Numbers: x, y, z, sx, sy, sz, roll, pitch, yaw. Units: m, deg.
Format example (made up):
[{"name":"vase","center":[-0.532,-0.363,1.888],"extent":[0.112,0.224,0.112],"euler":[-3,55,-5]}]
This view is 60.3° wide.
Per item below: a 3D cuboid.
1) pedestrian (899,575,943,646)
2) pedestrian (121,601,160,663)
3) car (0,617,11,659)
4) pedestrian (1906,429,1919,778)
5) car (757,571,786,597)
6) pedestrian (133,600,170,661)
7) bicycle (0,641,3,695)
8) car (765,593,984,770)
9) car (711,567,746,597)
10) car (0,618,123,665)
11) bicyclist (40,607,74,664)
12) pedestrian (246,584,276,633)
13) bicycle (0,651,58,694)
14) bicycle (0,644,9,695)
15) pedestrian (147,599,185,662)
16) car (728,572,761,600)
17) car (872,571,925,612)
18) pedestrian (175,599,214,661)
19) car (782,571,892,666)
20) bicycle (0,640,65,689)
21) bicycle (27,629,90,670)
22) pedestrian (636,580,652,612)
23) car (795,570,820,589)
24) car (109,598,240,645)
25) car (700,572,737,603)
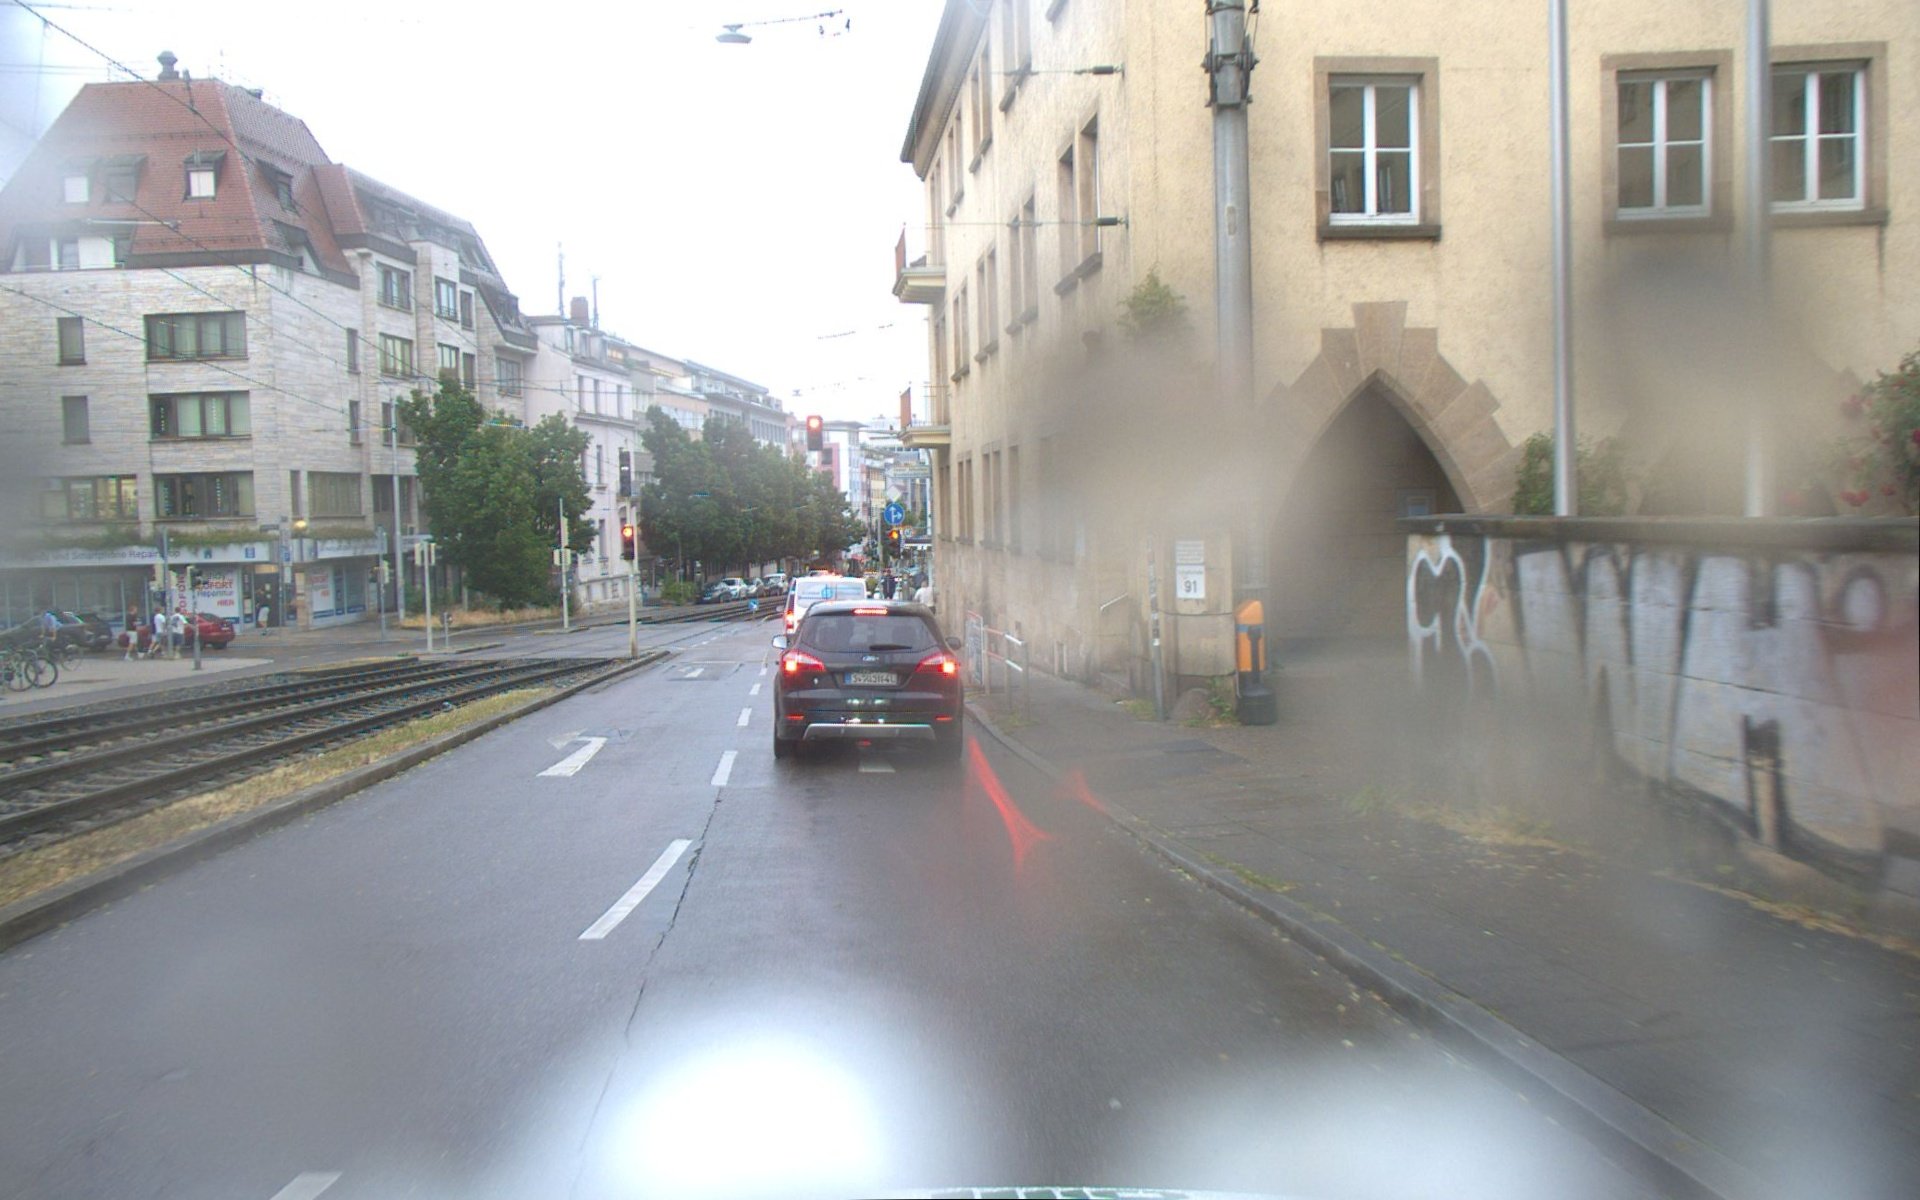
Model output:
[{"name":"pedestrian","center":[-1.044,0.281,43.884],"extent":[1.025,1.826,0.901],"euler":[-2,0,-7]},{"name":"pedestrian","center":[-27.740,1.067,56.014],"extent":[0.924,2.049,0.763],"euler":[-2,0,-9]},{"name":"car","center":[-39.108,1.529,63.396],"extent":[4.366,1.596,1.909],"euler":[-2,0,3]},{"name":"pedestrian","center":[2.923,0.405,4.138],"extent":[0.620,1.751,0.710],"euler":[-2,0,-4]},{"name":"car","center":[-15.734,-1.359,138.556],"extent":[1.953,2.049,4.000],"euler":[-2,1,-1]},{"name":"pedestrian","center":[-27.941,1.053,57.171],"extent":[0.924,2.049,0.763],"euler":[-2,0,-9]},{"name":"bicycle","center":[-20.873,1.436,34.265],"extent":[1.774,1.127,0.452],"euler":[-1,0,-26]},{"name":"car","center":[-0.939,0.731,16.582],"extent":[1.883,1.505,3.995],"euler":[2,0,-6]},{"name":"car","center":[-16.949,-1.320,121.192],"extent":[1.953,2.049,4.000],"euler":[-2,1,-1]},{"name":"car","center":[-34.501,1.576,63.197],"extent":[4.047,1.596,1.824],"euler":[-2,0,3]},{"name":"bicyclist","center":[-25.543,1.000,46.778],"extent":[0.451,1.601,0.702],"euler":[-1,0,14]},{"name":"pedestrian","center":[-28.250,0.339,66.824],"extent":[0.888,1.965,0.824],"euler":[-2,1,-9]},{"name":"bicycle","center":[-20.846,1.602,36.429],"extent":[1.623,0.881,0.567],"euler":[-1,0,-16]},{"name":"bicycle","center":[-21.491,1.511,35.477],"extent":[1.769,1.082,0.566],"euler":[-1,0,-18]},{"name":"pedestrian","center":[-26.702,1.018,55.621],"extent":[0.924,2.049,0.763],"euler":[-2,0,-9]},{"name":"car","center":[-16.605,-1.098,127.584],"extent":[1.953,2.049,4.000],"euler":[-2,1,-1]},{"name":"car","center":[-2.889,-0.417,78.459],"extent":[1.951,1.803,4.003],"euler":[-2,1,5]},{"name":"pedestrian","center":[-25.728,0.994,55.579],"extent":[0.923,2.049,0.764],"euler":[-2,0,-6]},{"name":"car","center":[-2.624,0.344,34.802],"extent":[2.096,1.775,4.213],"euler":[-3,1,-6]},{"name":"bicycle","center":[-21.417,1.472,37.404],"extent":[1.916,1.046,0.718],"euler":[-1,0,-15]},{"name":"bicycle","center":[-25.524,1.386,46.835],"extent":[0.446,1.082,1.804],"euler":[-1,0,14]},{"name":"pedestrian","center":[-20.830,-0.278,109.072],"extent":[0.926,2.049,0.762],"euler":[-2,0,-15]},{"name":"car","center":[-13.990,-1.862,151.687],"extent":[1.953,1.691,4.000],"euler":[-2,1,-1]},{"name":"car","center":[-29.750,0.811,62.709],"extent":[4.047,1.596,1.824],"euler":[-2,0,3]},{"name":"car","center":[-16.746,-0.855,114.869],"extent":[1.953,2.049,4.000],"euler":[-2,1,-1]}]
